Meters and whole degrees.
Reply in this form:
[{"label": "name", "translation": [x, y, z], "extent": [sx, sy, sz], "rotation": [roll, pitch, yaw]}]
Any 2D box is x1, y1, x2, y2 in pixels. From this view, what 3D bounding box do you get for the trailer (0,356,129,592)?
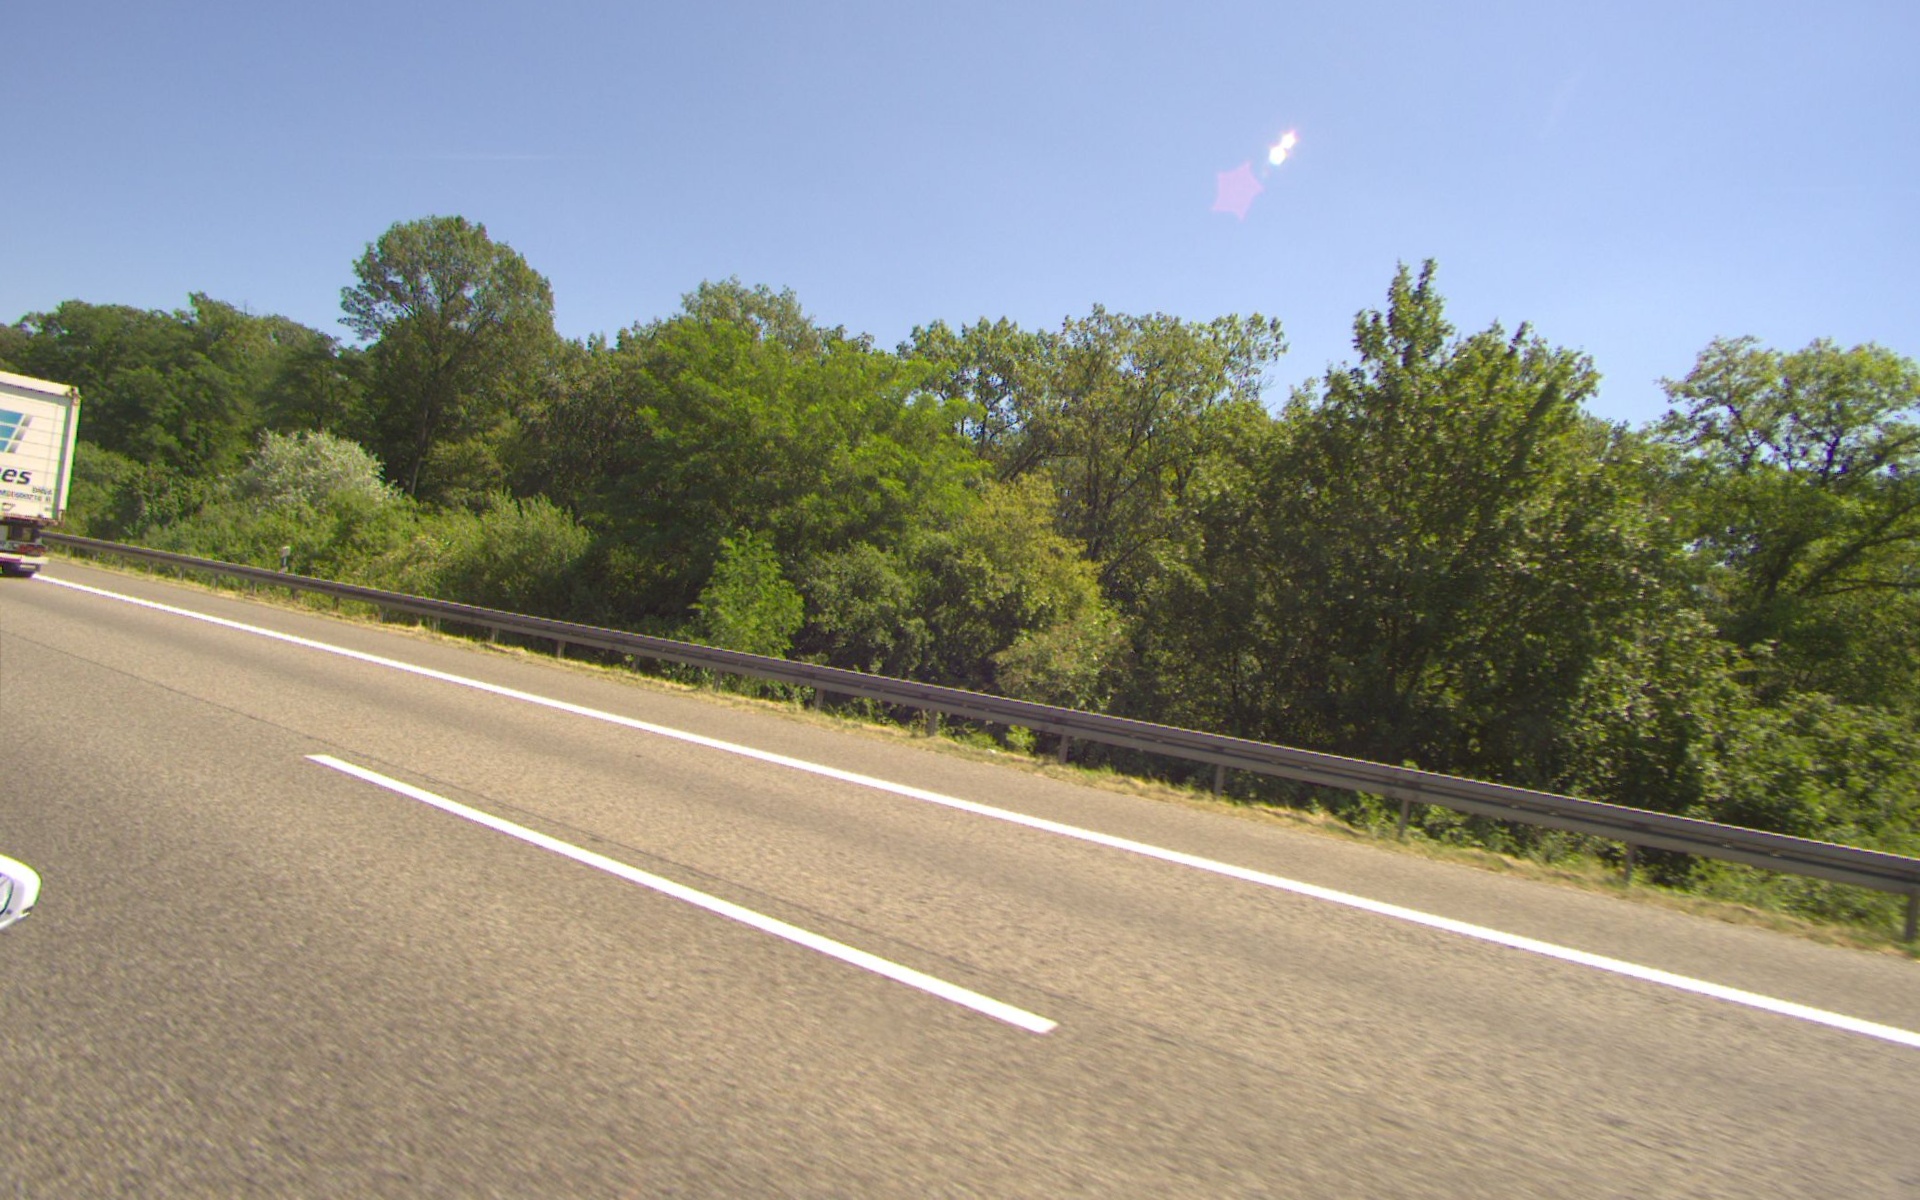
[{"label": "trailer", "translation": [-21.658, -2.879, 21.183], "extent": [8.941, 4.190, 3.374], "rotation": [7, -1, 32]}]
